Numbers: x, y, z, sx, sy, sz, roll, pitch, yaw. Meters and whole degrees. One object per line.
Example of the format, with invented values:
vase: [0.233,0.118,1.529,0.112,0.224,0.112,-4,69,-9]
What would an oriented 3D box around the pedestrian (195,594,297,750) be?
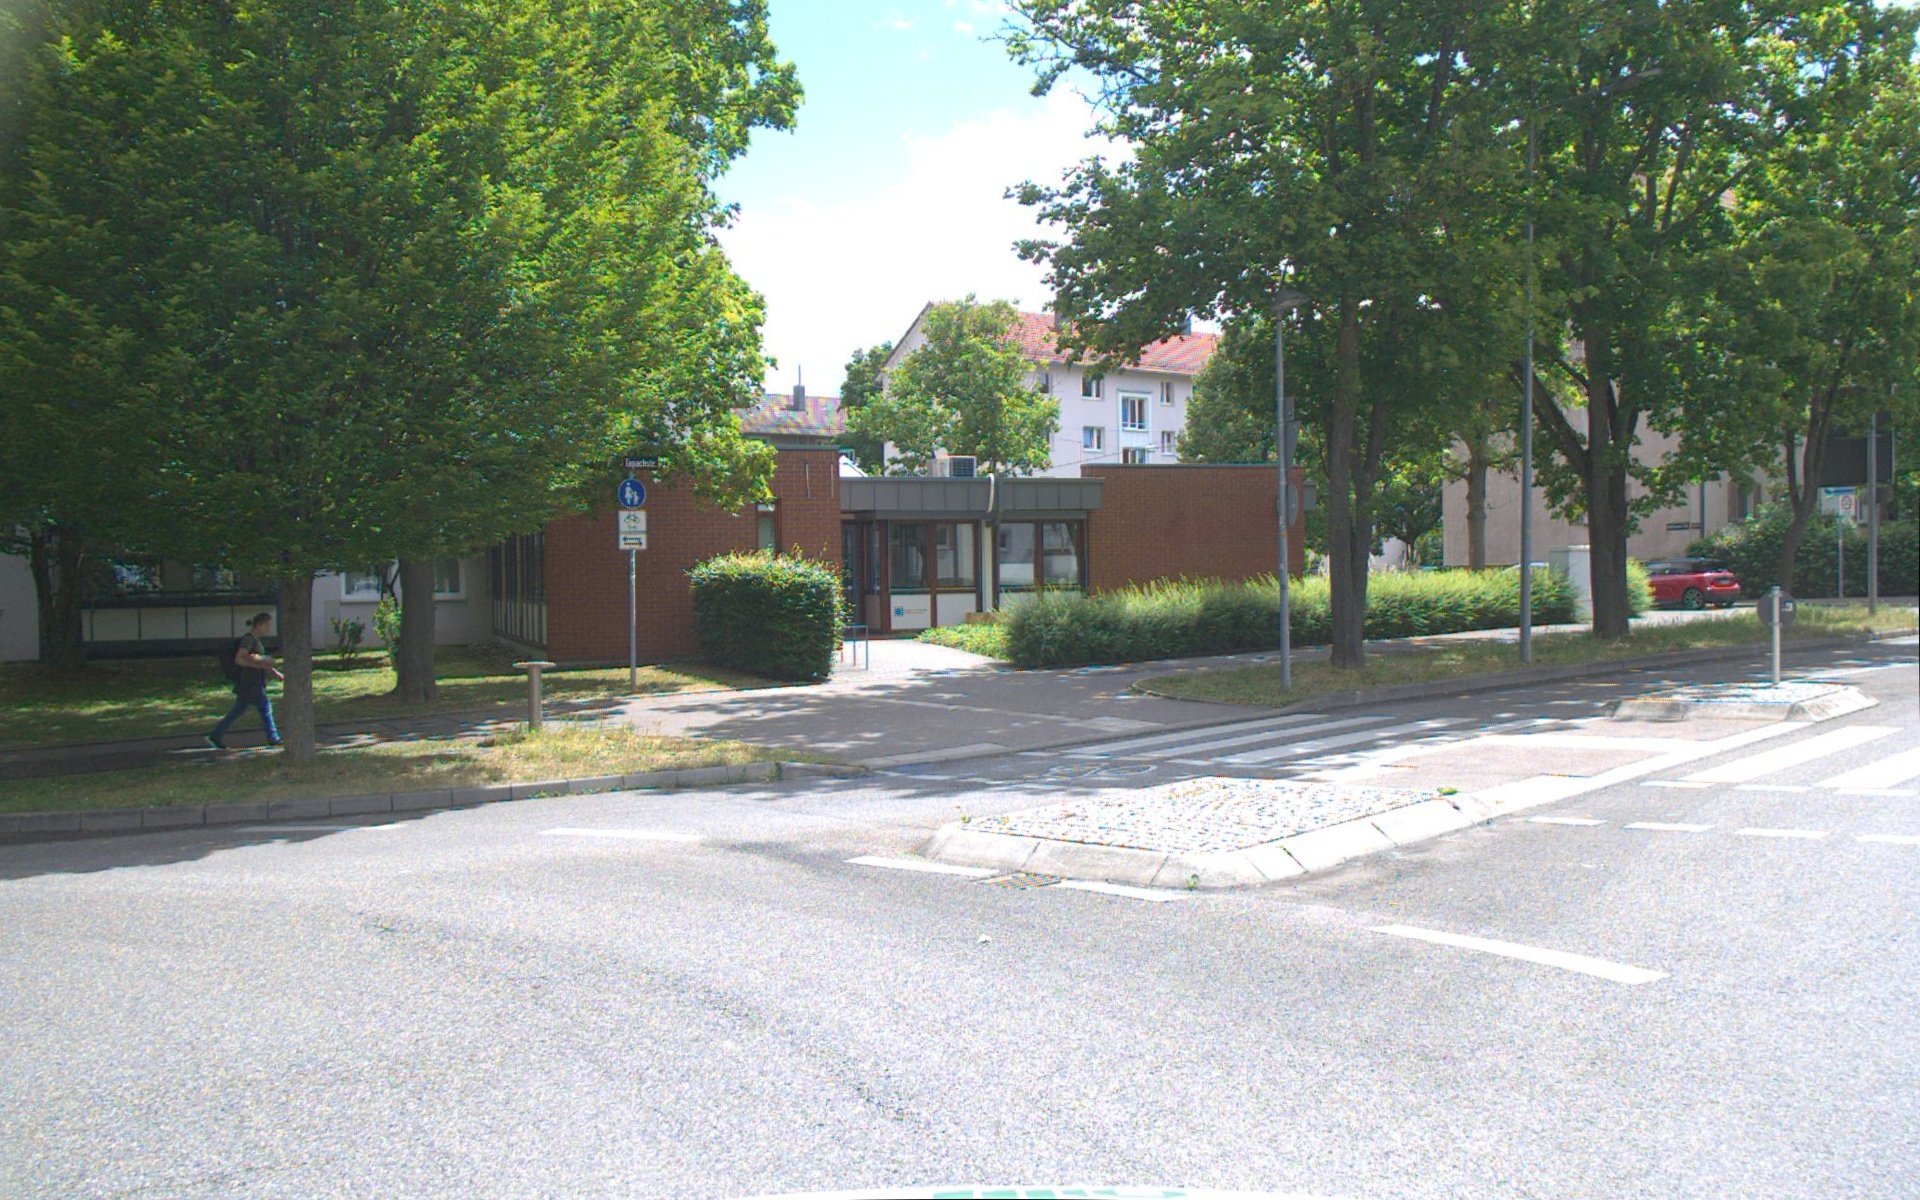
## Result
pedestrian: [-7.867,0.771,18.211,0.830,1.606,0.713,-5,2,-31]

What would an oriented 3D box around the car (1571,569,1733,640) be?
car: [20.122,0.107,48.213,1.996,1.975,3.949,0,1,-36]
